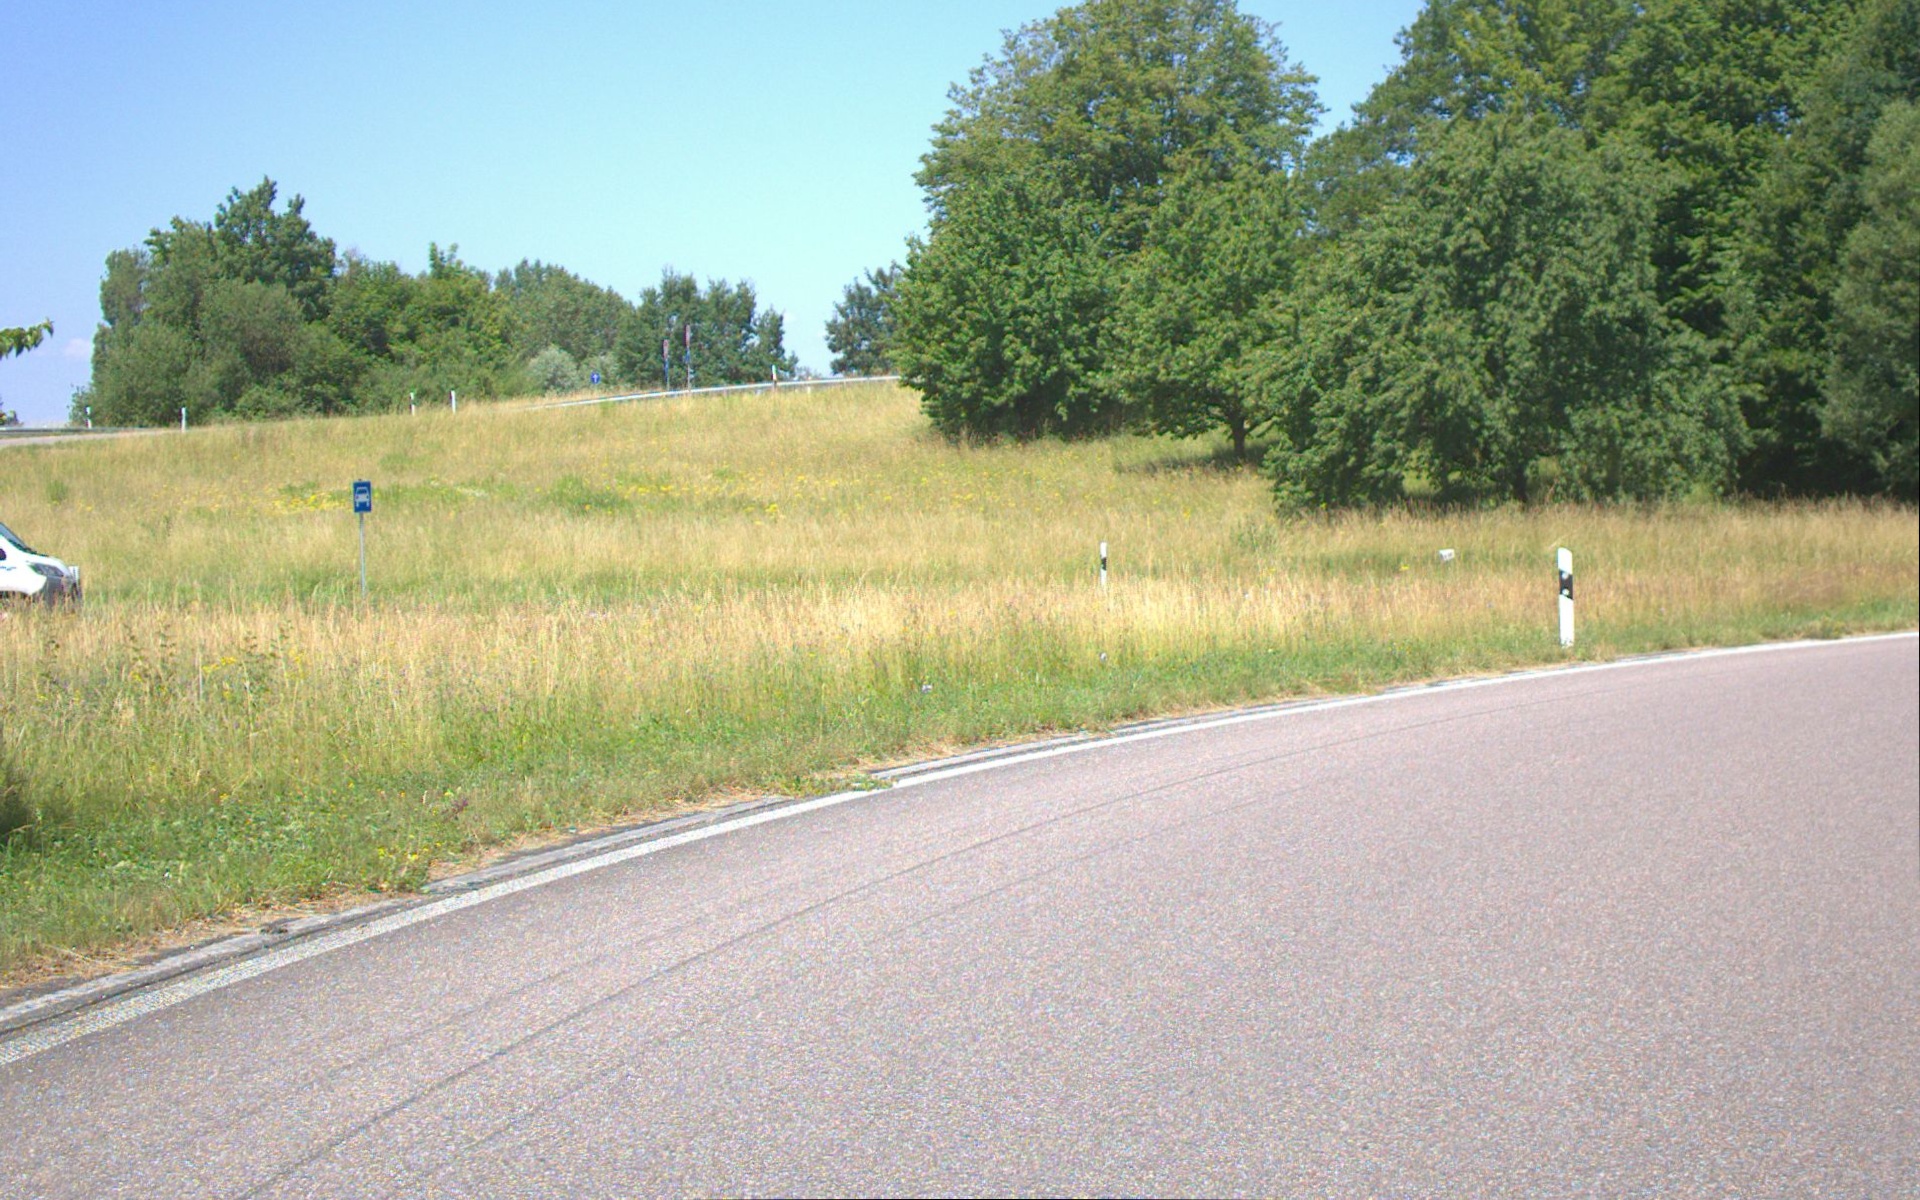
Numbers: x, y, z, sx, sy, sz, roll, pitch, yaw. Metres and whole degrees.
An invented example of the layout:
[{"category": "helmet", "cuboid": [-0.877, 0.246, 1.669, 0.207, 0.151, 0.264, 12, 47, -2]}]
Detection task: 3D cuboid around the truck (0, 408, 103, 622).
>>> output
[{"category": "truck", "cuboid": [-15.218, -1.163, 48.588, 5.873, 2.974, 2.249, -1, 1, -12]}]
